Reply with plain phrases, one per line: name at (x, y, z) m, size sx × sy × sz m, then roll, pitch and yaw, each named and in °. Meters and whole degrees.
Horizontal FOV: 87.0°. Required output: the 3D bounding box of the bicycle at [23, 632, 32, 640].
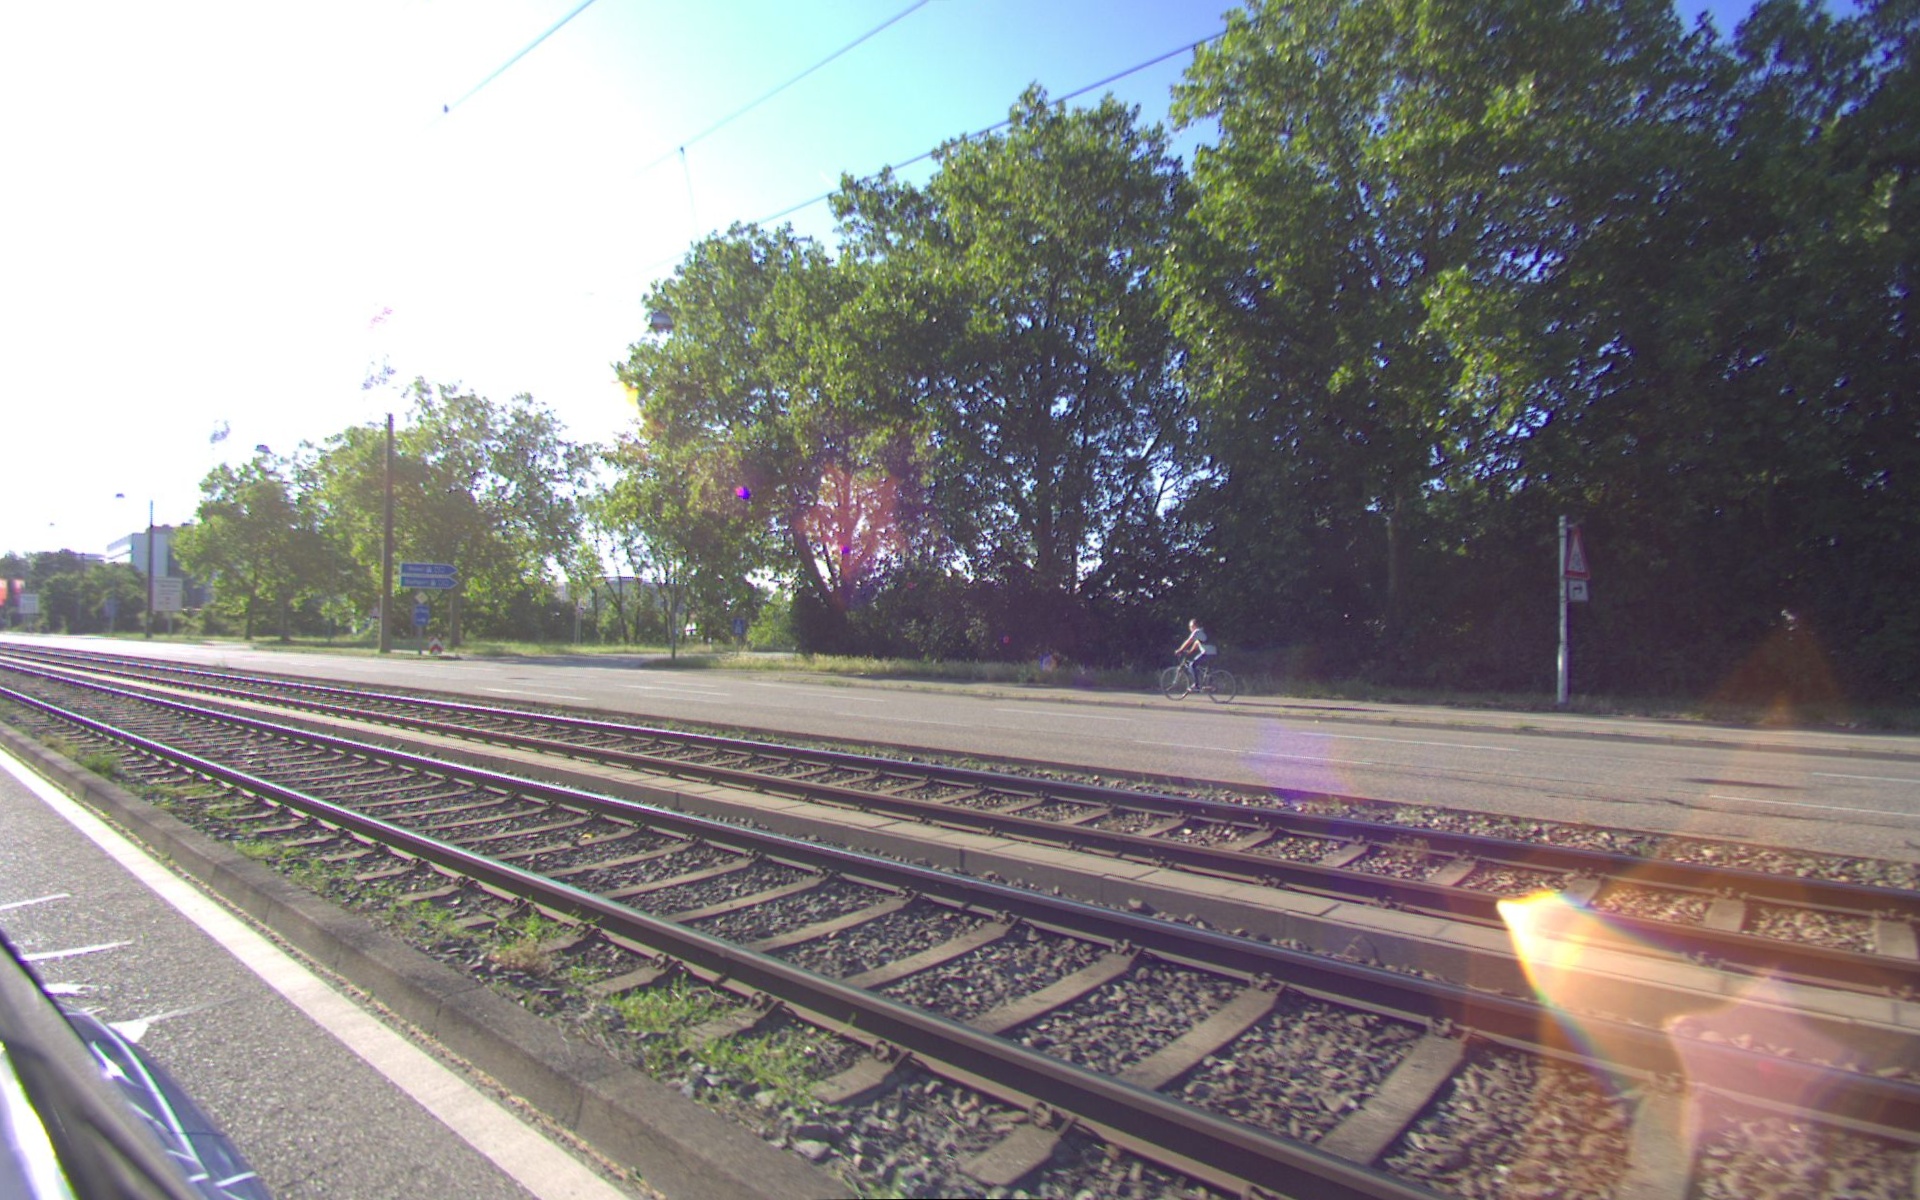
bicycle at (-122.969, 4.714, 133.441) m, size 2.184 × 1.029 × 0.584 m, roll -1°, pitch -2°, yaw 41°

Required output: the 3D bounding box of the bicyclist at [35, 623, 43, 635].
bicyclist at (-121.682, 3.875, 133.720) m, size 0.905 × 1.540 × 0.584 m, roll -1°, pitch -2°, yaw 41°

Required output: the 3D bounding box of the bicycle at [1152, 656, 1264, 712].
bicycle at (5.036, 1.689, 20.685) m, size 2.239 × 0.993 × 0.544 m, roll -1°, pitch 0°, yaw 44°

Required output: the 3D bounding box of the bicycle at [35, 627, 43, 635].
bicycle at (-121.692, 4.153, 133.718) m, size 2.184 × 1.029 × 0.584 m, roll -1°, pitch -2°, yaw 41°

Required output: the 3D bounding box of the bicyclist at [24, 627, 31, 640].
bicyclist at (-122.845, 4.415, 133.344) m, size 0.966 × 1.623 × 0.584 m, roll -1°, pitch -2°, yaw 41°

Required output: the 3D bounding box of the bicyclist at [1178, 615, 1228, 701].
bicyclist at (4.975, 1.172, 20.736) m, size 0.544 × 1.703 × 0.821 m, roll -1°, pitch 0°, yaw -45°
